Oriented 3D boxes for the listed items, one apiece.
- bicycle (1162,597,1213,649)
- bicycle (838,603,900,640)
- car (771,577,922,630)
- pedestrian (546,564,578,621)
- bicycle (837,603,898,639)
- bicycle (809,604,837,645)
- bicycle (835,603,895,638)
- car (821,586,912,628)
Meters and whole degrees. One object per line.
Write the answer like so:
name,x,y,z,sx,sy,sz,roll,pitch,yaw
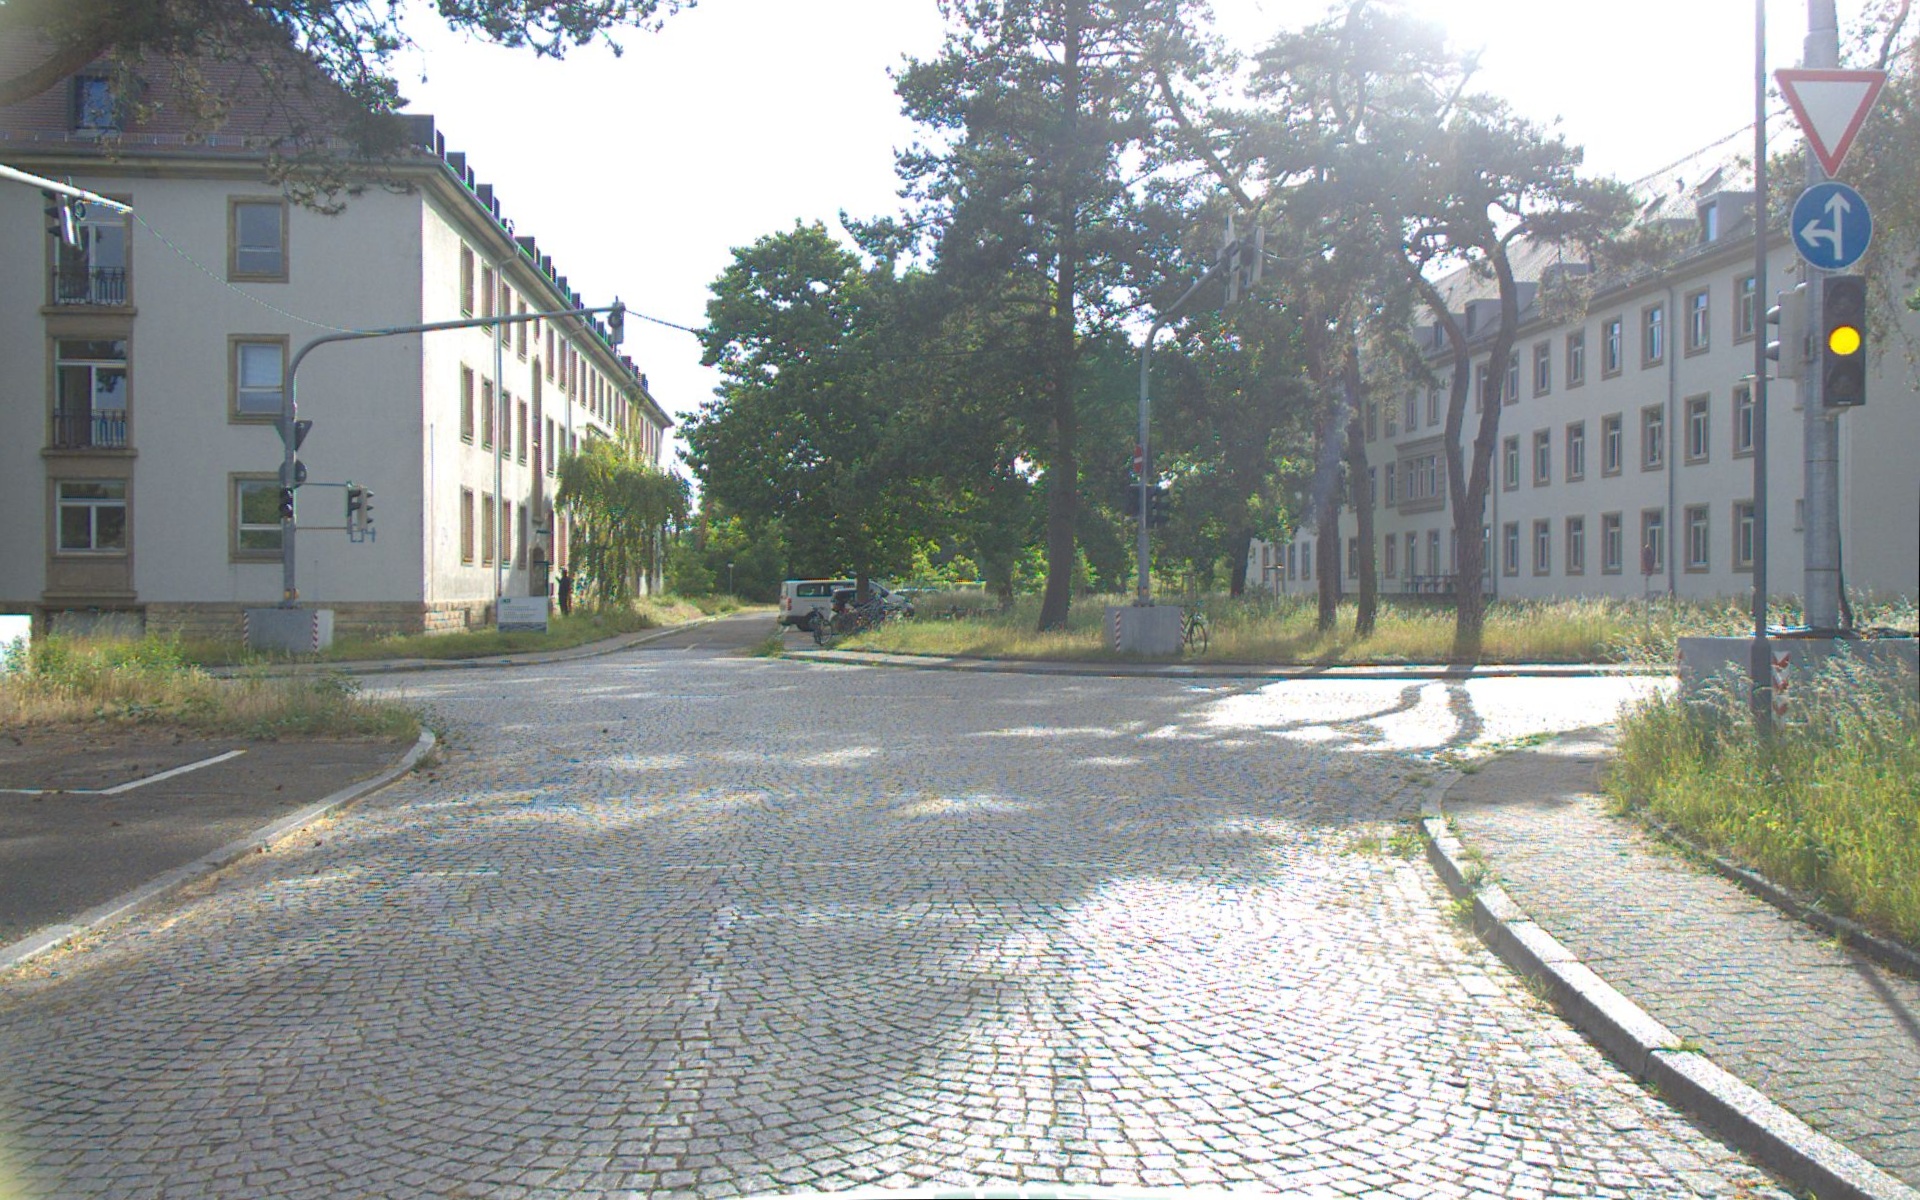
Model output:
bicycle,4.677,0.457,34.121,0.552,1.016,1.748,-1,1,-9
bicycle,-2.621,0.618,47.631,1.758,1.016,0.643,0,1,-7
car,-4.357,0.149,63.455,5.418,1.949,2.242,0,0,-19
pedestrian,-14.167,-0.261,58.896,0.966,1.998,0.931,0,0,-6
bicycle,-2.715,0.623,48.646,1.758,1.016,0.643,0,1,-7
bicycle,-3.637,0.640,43.927,0.714,1.016,1.797,0,1,-5
bicycle,-2.884,0.626,50.135,1.758,1.016,0.643,0,1,-7
car,-3.383,0.269,59.971,2.985,1.491,1.711,0,-1,-18
